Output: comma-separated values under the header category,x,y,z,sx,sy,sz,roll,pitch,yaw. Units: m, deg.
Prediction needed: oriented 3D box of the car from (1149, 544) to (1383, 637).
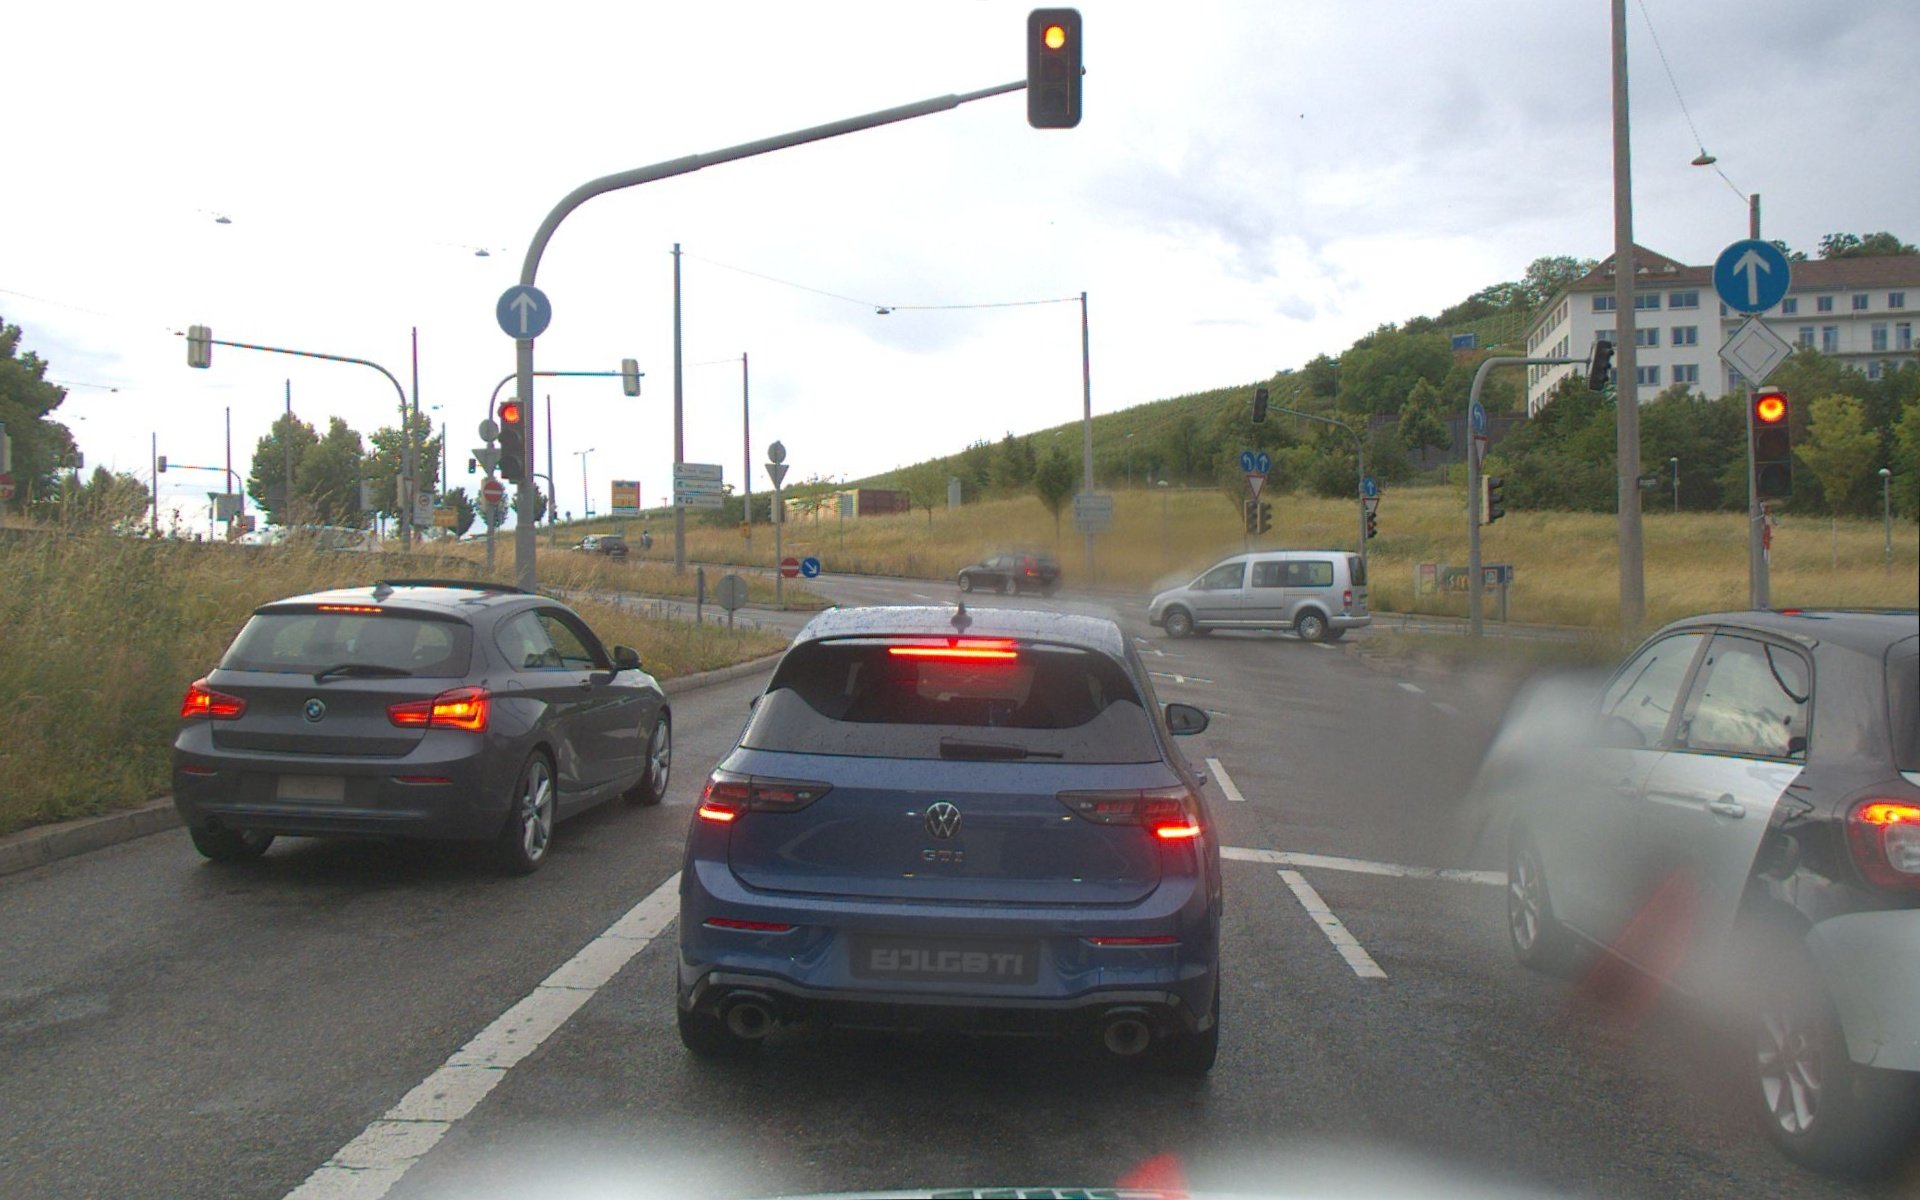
category,x,y,z,sx,sy,sz,roll,pitch,yaw
car,6.509,-0.222,35.300,4.593,1.882,1.820,1,1,28

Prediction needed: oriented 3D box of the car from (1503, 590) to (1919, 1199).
category,x,y,z,sx,sy,sz,roll,pitch,yaw
car,3.184,0.772,5.725,1.623,1.529,3.452,1,-1,3

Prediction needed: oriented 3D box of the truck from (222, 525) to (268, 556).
category,x,y,z,sx,sy,sz,roll,pitch,yaw
truck,-79.926,-6.670,184.763,3.234,3.128,6.096,4,0,-37

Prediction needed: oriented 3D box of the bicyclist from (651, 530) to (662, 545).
category,x,y,z,sx,sy,sz,roll,pitch,yaw
bicyclist,-21.312,-4.401,116.228,0.519,1.065,0.573,4,0,-35

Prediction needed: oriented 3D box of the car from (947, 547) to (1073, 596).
category,x,y,z,sx,sy,sz,roll,pitch,yaw
car,1.720,-1.016,58.681,1.978,1.646,4.790,1,1,-36

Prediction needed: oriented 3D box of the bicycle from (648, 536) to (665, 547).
category,x,y,z,sx,sy,sz,roll,pitch,yaw
bicycle,-21.333,-4.112,116.239,0.513,0.788,1.602,3,0,-33

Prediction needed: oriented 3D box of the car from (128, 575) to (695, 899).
category,x,y,z,sx,sy,sz,roll,pitch,yaw
car,-2.878,0.609,9.703,1.667,1.485,4.117,0,0,5

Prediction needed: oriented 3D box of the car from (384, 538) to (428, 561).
category,x,y,z,sx,sy,sz,roll,pitch,yaw
car,-41.324,-3.748,123.367,1.977,1.503,4.366,1,-1,-35

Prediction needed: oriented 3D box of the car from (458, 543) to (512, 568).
category,x,y,z,sx,sy,sz,roll,pitch,yaw
car,-30.677,-2.855,106.828,1.978,1.503,4.446,1,-1,-36

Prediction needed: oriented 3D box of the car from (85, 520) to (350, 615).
category,x,y,z,sx,sy,sz,roll,pitch,yaw
car,-14.165,-0.565,31.870,1.953,1.649,4.523,1,-1,23

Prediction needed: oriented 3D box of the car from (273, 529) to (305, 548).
category,x,y,z,sx,sy,sz,roll,pitch,yaw
car,-66.840,-6.138,164.756,1.978,1.688,4.487,1,-1,-36

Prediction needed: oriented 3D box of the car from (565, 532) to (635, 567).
category,x,y,z,sx,sy,sz,roll,pitch,yaw
car,-18.978,-2.619,87.040,1.979,1.665,4.362,1,-1,-37

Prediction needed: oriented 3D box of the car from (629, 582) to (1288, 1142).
category,x,y,z,sx,sy,sz,roll,pitch,yaw
car,0.134,0.698,6.408,1.786,1.486,3.810,1,0,4
